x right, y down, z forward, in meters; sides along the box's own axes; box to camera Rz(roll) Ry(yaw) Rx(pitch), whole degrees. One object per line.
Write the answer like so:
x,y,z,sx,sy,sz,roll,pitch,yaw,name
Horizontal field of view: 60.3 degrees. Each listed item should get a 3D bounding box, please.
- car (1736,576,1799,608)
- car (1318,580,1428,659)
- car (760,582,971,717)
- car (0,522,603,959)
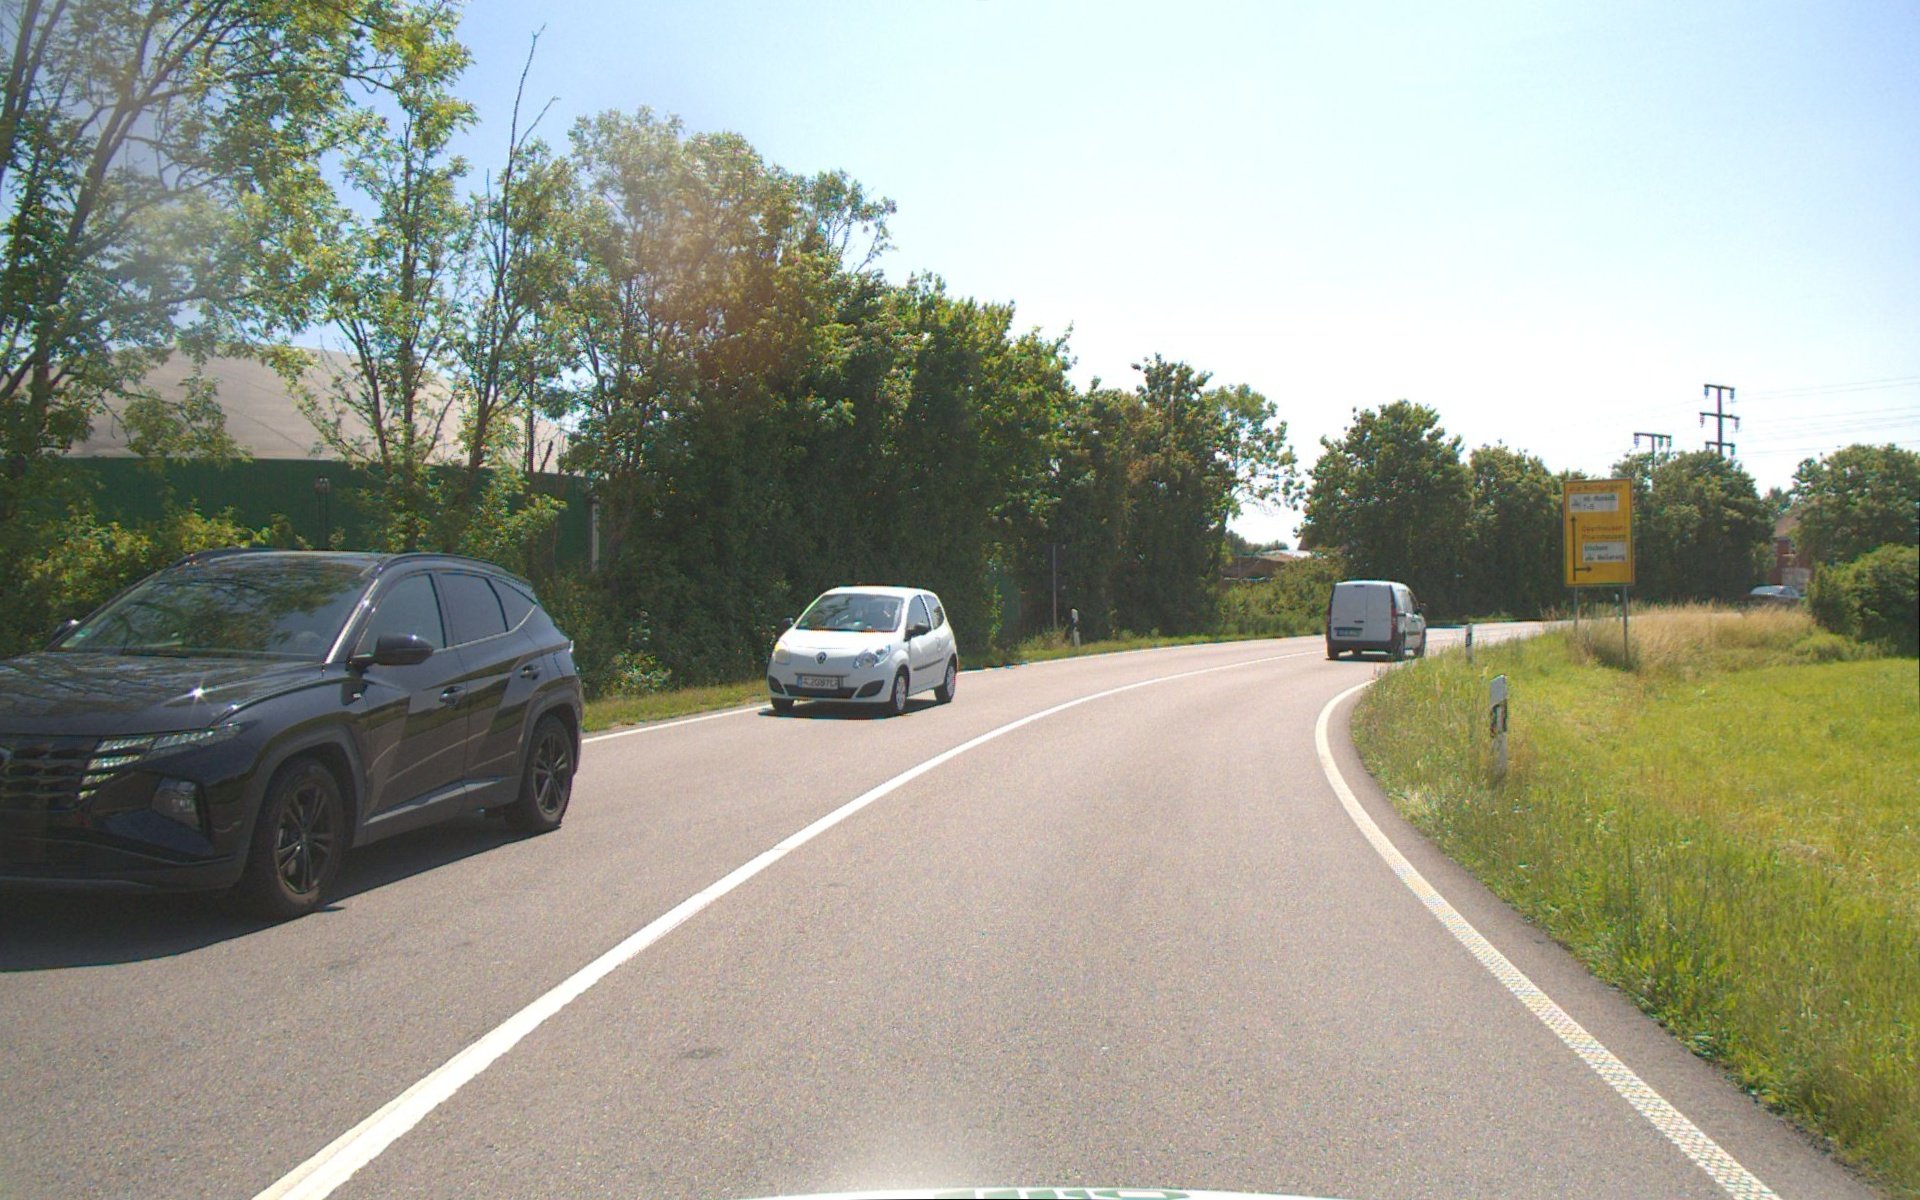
37.234,-0.352,76.231,1.693,1.445,3.723,-2,-1,41,car
9.852,0.462,39.256,1.865,1.763,3.820,-1,-1,24,car
-1.077,0.569,20.563,1.504,1.468,3.610,2,0,15,car
-3.443,0.518,8.582,1.665,1.666,4.253,1,0,9,car
